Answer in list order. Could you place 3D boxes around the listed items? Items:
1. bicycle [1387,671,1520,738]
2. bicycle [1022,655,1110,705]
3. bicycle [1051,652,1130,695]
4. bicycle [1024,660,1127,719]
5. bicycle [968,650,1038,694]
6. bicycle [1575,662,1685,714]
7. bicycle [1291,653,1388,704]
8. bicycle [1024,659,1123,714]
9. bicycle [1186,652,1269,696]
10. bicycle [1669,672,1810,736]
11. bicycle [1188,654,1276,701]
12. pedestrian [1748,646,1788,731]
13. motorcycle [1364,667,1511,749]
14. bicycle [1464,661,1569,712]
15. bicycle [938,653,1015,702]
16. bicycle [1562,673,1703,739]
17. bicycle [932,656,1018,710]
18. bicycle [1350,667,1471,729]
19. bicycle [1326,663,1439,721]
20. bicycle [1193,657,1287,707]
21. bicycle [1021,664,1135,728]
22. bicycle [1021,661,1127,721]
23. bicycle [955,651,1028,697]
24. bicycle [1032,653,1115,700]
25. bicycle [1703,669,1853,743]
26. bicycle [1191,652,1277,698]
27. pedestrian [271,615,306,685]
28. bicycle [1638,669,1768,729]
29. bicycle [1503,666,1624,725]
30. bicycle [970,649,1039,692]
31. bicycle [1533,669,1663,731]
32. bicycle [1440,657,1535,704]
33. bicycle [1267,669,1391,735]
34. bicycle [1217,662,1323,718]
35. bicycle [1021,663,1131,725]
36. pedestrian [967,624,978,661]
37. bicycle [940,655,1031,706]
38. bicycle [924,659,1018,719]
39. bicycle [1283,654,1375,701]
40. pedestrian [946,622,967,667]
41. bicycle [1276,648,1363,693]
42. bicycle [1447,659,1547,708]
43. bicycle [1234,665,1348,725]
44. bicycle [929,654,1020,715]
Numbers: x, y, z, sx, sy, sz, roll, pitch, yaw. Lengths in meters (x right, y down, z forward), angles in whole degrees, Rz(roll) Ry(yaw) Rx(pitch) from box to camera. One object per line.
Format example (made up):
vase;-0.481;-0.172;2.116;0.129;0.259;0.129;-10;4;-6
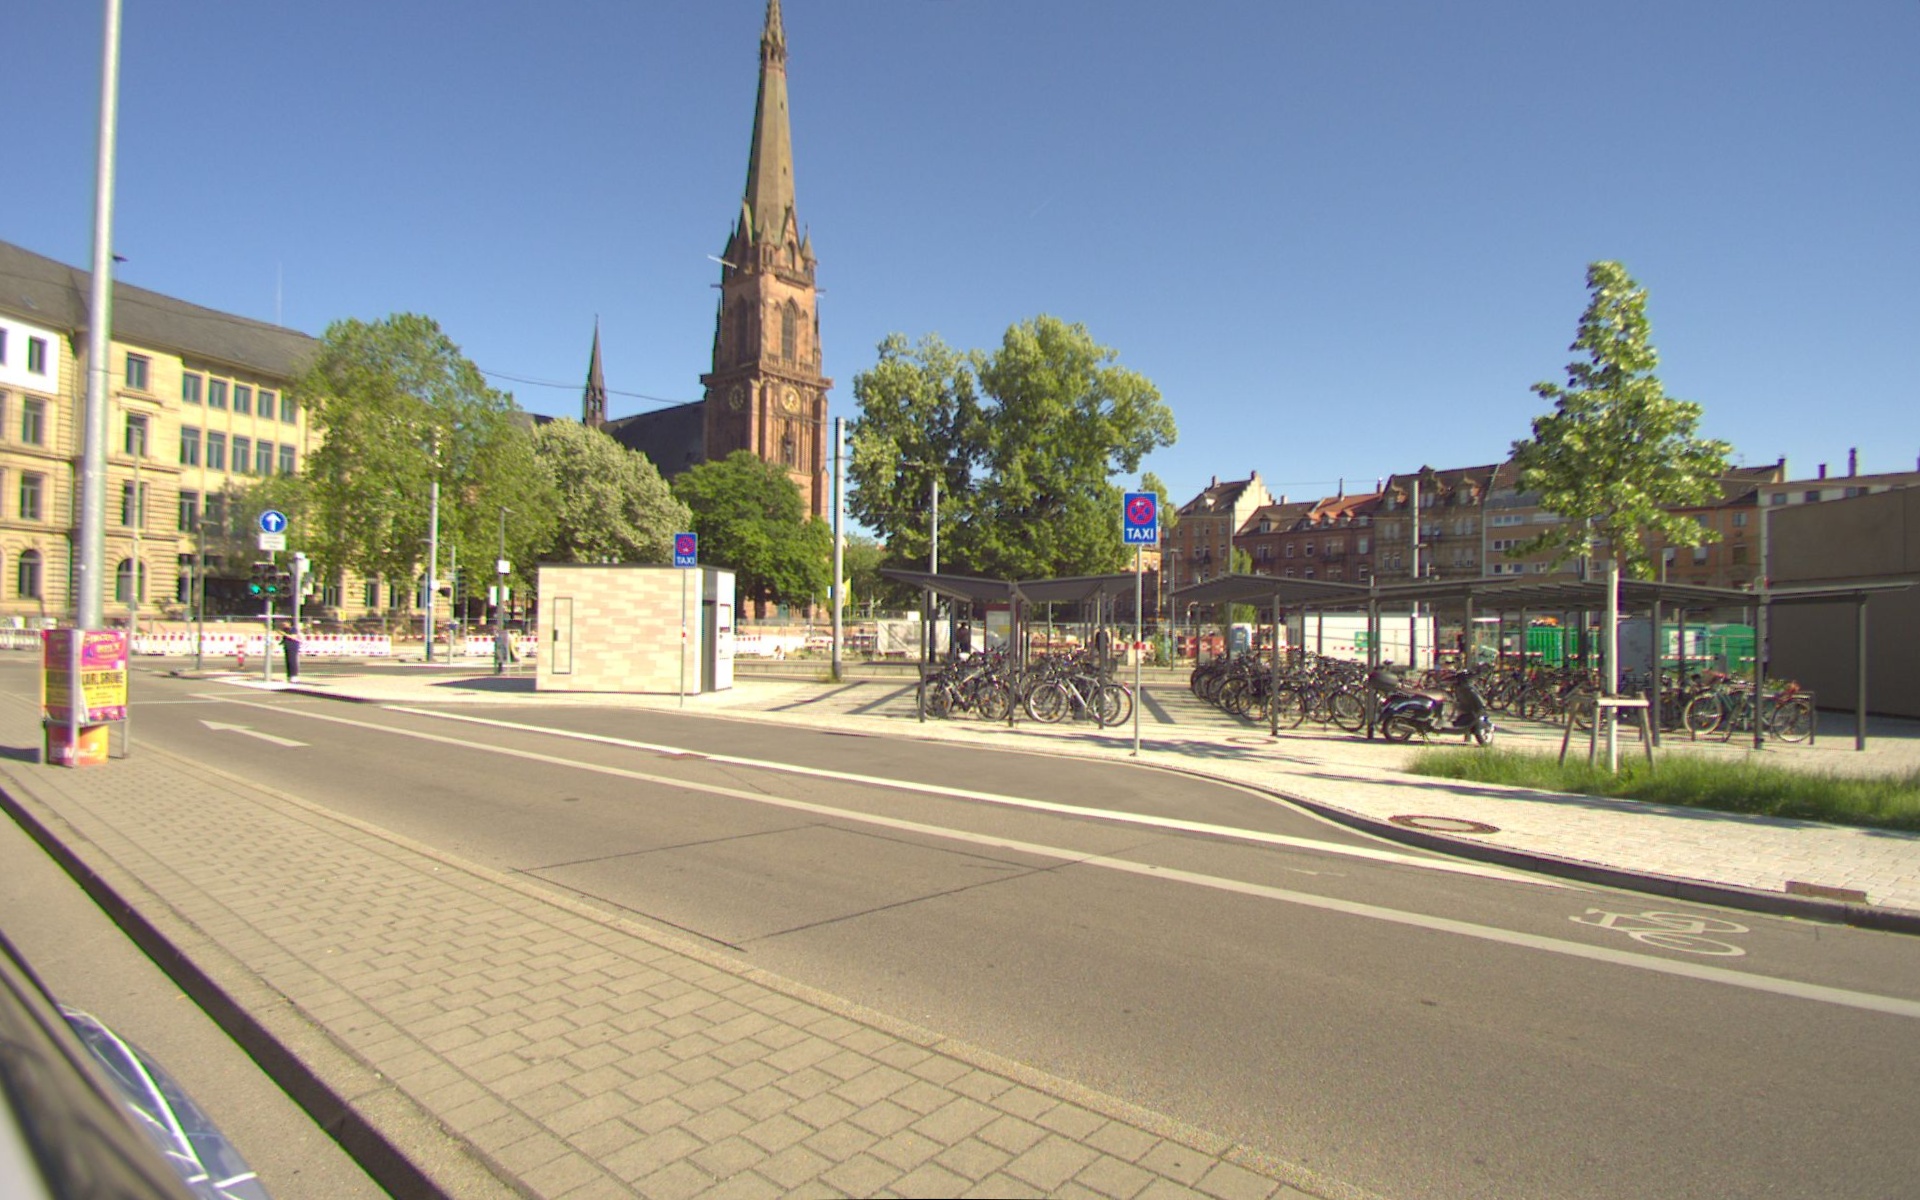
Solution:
bicycle;8.027;1.695;16.503;1.882;1.016;0.456;0;-2;8
bicycle;2.295;1.725;21.929;1.882;1.016;0.456;0;-2;8
bicycle;3.160;1.779;24.608;1.882;1.016;0.456;0;-2;8
bicycle;2.135;1.648;18.752;1.882;1.016;0.456;0;-2;8
bicycle;1.040;1.717;24.235;1.652;1.016;0.456;0;-2;8
bicycle;13.871;1.821;20.980;1.882;1.016;0.456;0;-2;8
bicycle;8.055;1.663;21.528;1.882;1.016;0.456;0;-2;8
bicycle;2.195;1.662;19.594;1.882;1.016;0.456;0;-2;8
bicycle;6.391;1.765;24.234;1.882;1.016;0.456;0;-2;8
bicycle;13.127;1.746;17.075;1.882;1.016;0.456;0;-2;8
bicycle;6.147;1.741;22.952;1.882;1.016;0.456;0;-2;8
pedestrian;19.781;2.136;24.766;0.718;2.029;0.678;-1;-3;41
motorcycle;7.160;1.605;15.234;1.924;1.160;0.516;0;-2;6
bicycle;11.712;1.817;21.322;1.882;1.016;0.456;0;-2;8
bicycle;0.369;1.693;22.233;1.652;1.016;0.456;0;-2;8
bicycle;10.971;1.721;16.546;1.882;1.016;0.456;0;-2;8
bicycle;0.303;1.623;19.897;1.652;1.016;0.456;0;-2;8
bicycle;7.893;1.712;17.772;1.882;1.016;0.456;0;-2;8
bicycle;7.916;1.715;19.005;1.882;1.016;0.456;0;-2;8
bicycle;5.963;1.750;21.618;1.882;1.016;0.456;0;-2;8
bicycle;1.988;1.605;17.123;1.882;1.016;0.456;0;-2;8
bicycle;2.053;1.636;18.270;1.882;1.016;0.456;0;-2;8
bicycle;0.744;1.712;23.490;1.652;1.016;0.456;0;-2;8
bicycle;2.604;1.750;23.313;1.882;1.016;0.456;0;-2;8
bicycle;13.080;1.688;16.215;1.882;1.106;0.456;0;-2;8
bicycle;6.364;1.734;23.576;1.882;1.016;0.456;0;-2;8
pedestrian;-18.048;1.335;27.197;0.683;1.868;0.680;2;-2;-38
bicycle;13.467;1.780;18.374;1.882;1.016;0.456;0;-2;8
bicycle;11.162;1.759;18.767;1.882;1.016;0.456;0;-2;8
bicycle;1.105;1.732;24.951;1.652;1.016;0.456;0;-2;8
bicycle;11.099;1.735;17.651;1.882;1.016;0.456;0;-2;8
bicycle;12.077;1.839;23.203;1.882;1.016;0.456;0;-2;8
bicycle;6.120;1.685;16.849;1.882;1.016;0.456;0;-2;8
bicycle;5.896;1.711;19.332;1.882;1.016;0.456;0;-2;8
bicycle;2.017;1.627;17.683;1.882;1.016;0.456;0;-2;8
pedestrian;0.582;1.996;47.625;0.399;1.734;0.419;1;-2;-11
bicycle;0.541;1.678;21.235;1.882;1.016;0.456;0;-2;8
bicycle;0.199;1.588;18.200;1.652;1.016;0.456;0;-2;8
bicycle;8.314;1.738;22.827;1.882;1.016;0.456;0;-2;8
pedestrian;-0.128;1.805;41.071;0.792;1.793;0.977;0;-2;3
bicycle;8.484;1.655;23.919;1.882;1.016;0.456;0;-2;8
bicycle;11.782;1.827;22.253;1.882;1.016;0.456;0;-2;8
bicycle;5.898;1.686;18.102;1.882;1.016;0.456;0;-2;8
bicycle;0.278;1.562;18.785;1.652;1.069;0.456;0;-2;8
